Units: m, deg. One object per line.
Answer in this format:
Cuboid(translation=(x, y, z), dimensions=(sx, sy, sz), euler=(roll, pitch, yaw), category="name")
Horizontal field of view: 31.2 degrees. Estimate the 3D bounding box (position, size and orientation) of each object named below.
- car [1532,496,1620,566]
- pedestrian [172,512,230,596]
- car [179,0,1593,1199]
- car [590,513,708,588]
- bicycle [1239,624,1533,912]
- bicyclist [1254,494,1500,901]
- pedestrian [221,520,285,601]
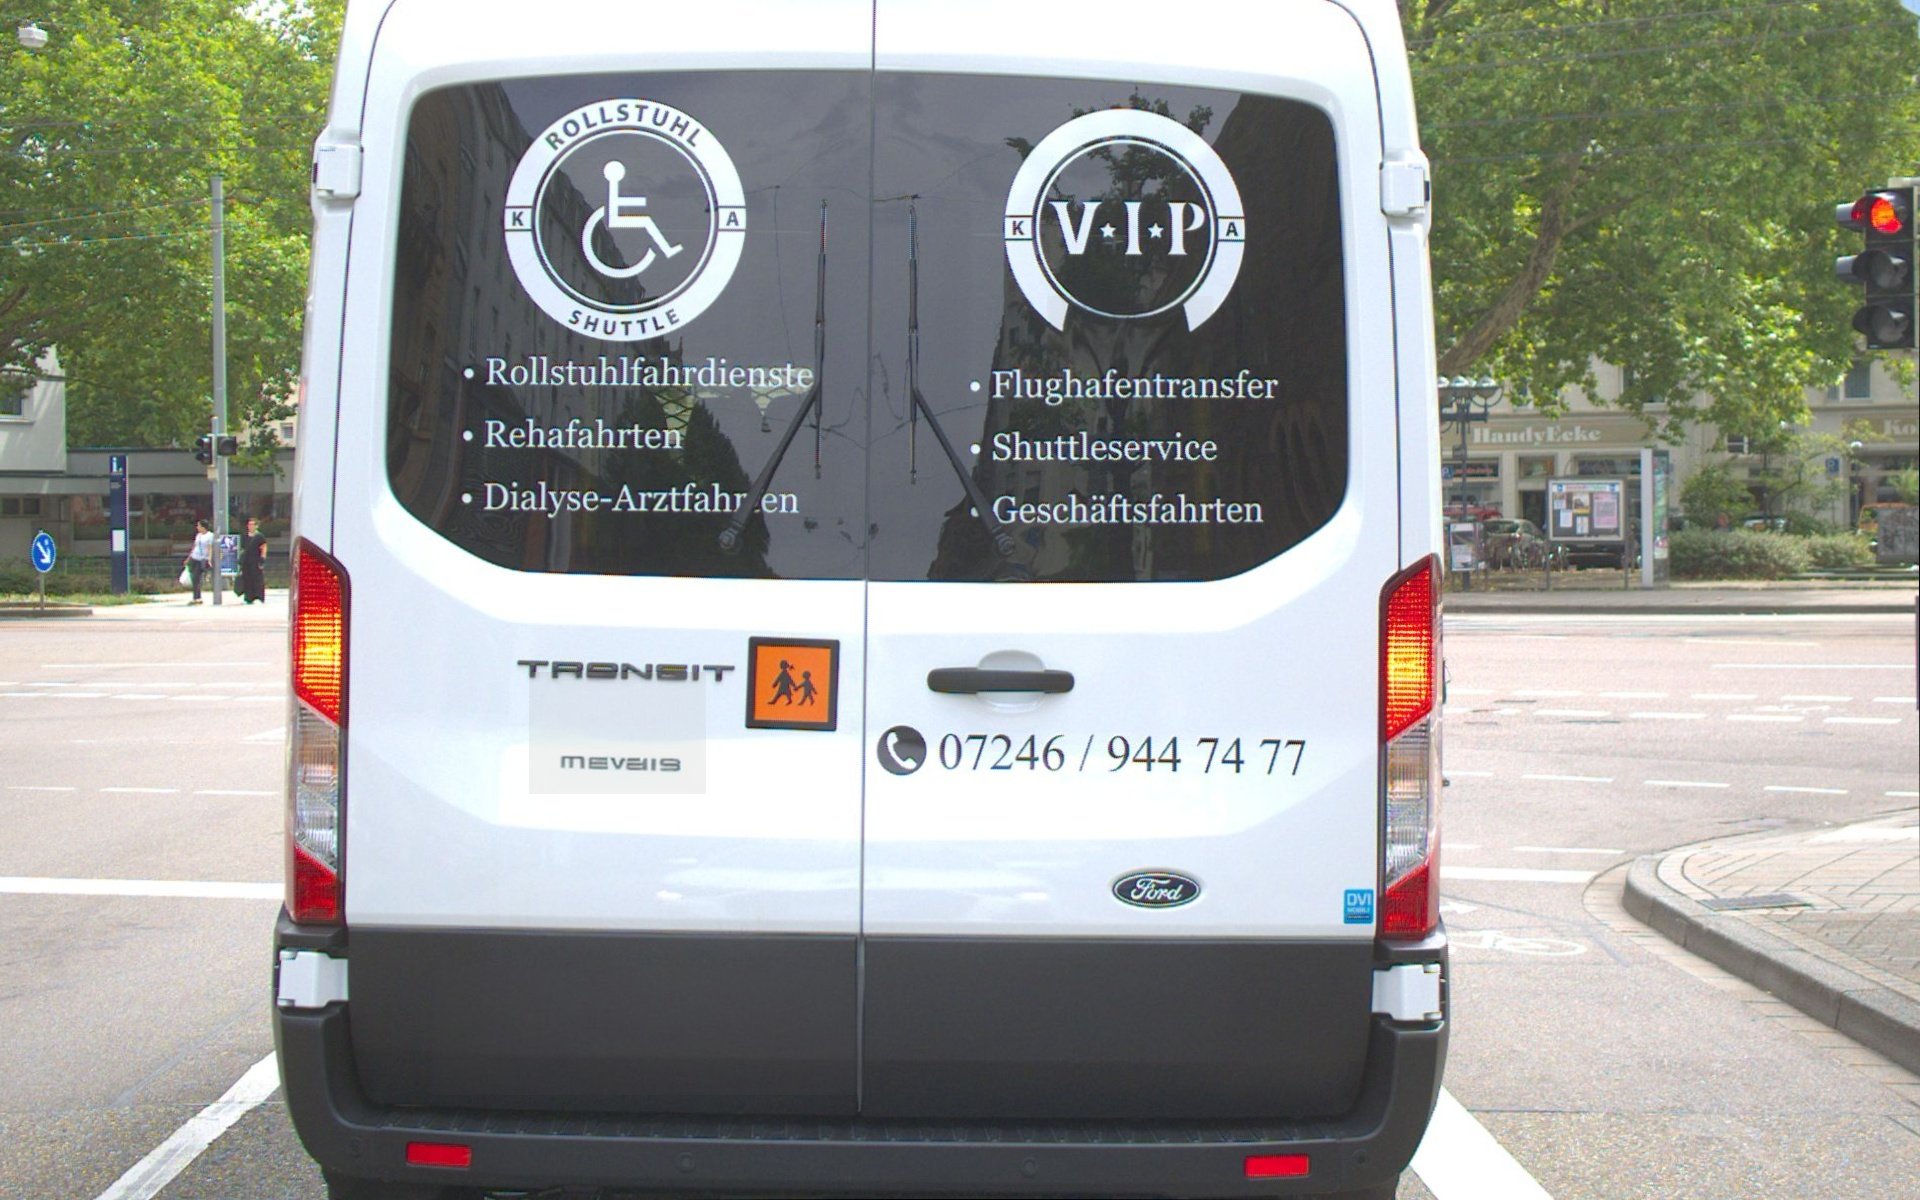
Cuboid(translation=(17.243, -1.943, 96.375), dimensions=(1.994, 1.924, 4.000), euler=(-1, 1, 4), category="car")
Cuboid(translation=(-14.338, -0.872, 64.961), dimensions=(0.807, 1.567, 0.723), euler=(0, 1, 14), category="pedestrian")
Cuboid(translation=(-0.192, -0.051, 7.650), dimensions=(2.181, 2.638, 4.629), euler=(0, 2, -2), category="car")
Cuboid(translation=(-6.481, -1.052, 71.906), dimensions=(1.621, 1.471, 3.999), euler=(-1, 2, 7), category="car")
Cuboid(translation=(1.775, 0.673, 14.652), dimensions=(0.902, 1.071, 1.970), euler=(-1, 1, -3), category="bicycle")
Cuboid(translation=(1.762, 0.394, 14.621), dimensions=(0.903, 1.677, 0.757), euler=(-1, 1, -3), category="bicyclist")
Cuboid(translation=(-13.337, -0.754, 64.876), dimensions=(0.930, 1.509, 0.723), euler=(0, 1, 14), category="pedestrian")
